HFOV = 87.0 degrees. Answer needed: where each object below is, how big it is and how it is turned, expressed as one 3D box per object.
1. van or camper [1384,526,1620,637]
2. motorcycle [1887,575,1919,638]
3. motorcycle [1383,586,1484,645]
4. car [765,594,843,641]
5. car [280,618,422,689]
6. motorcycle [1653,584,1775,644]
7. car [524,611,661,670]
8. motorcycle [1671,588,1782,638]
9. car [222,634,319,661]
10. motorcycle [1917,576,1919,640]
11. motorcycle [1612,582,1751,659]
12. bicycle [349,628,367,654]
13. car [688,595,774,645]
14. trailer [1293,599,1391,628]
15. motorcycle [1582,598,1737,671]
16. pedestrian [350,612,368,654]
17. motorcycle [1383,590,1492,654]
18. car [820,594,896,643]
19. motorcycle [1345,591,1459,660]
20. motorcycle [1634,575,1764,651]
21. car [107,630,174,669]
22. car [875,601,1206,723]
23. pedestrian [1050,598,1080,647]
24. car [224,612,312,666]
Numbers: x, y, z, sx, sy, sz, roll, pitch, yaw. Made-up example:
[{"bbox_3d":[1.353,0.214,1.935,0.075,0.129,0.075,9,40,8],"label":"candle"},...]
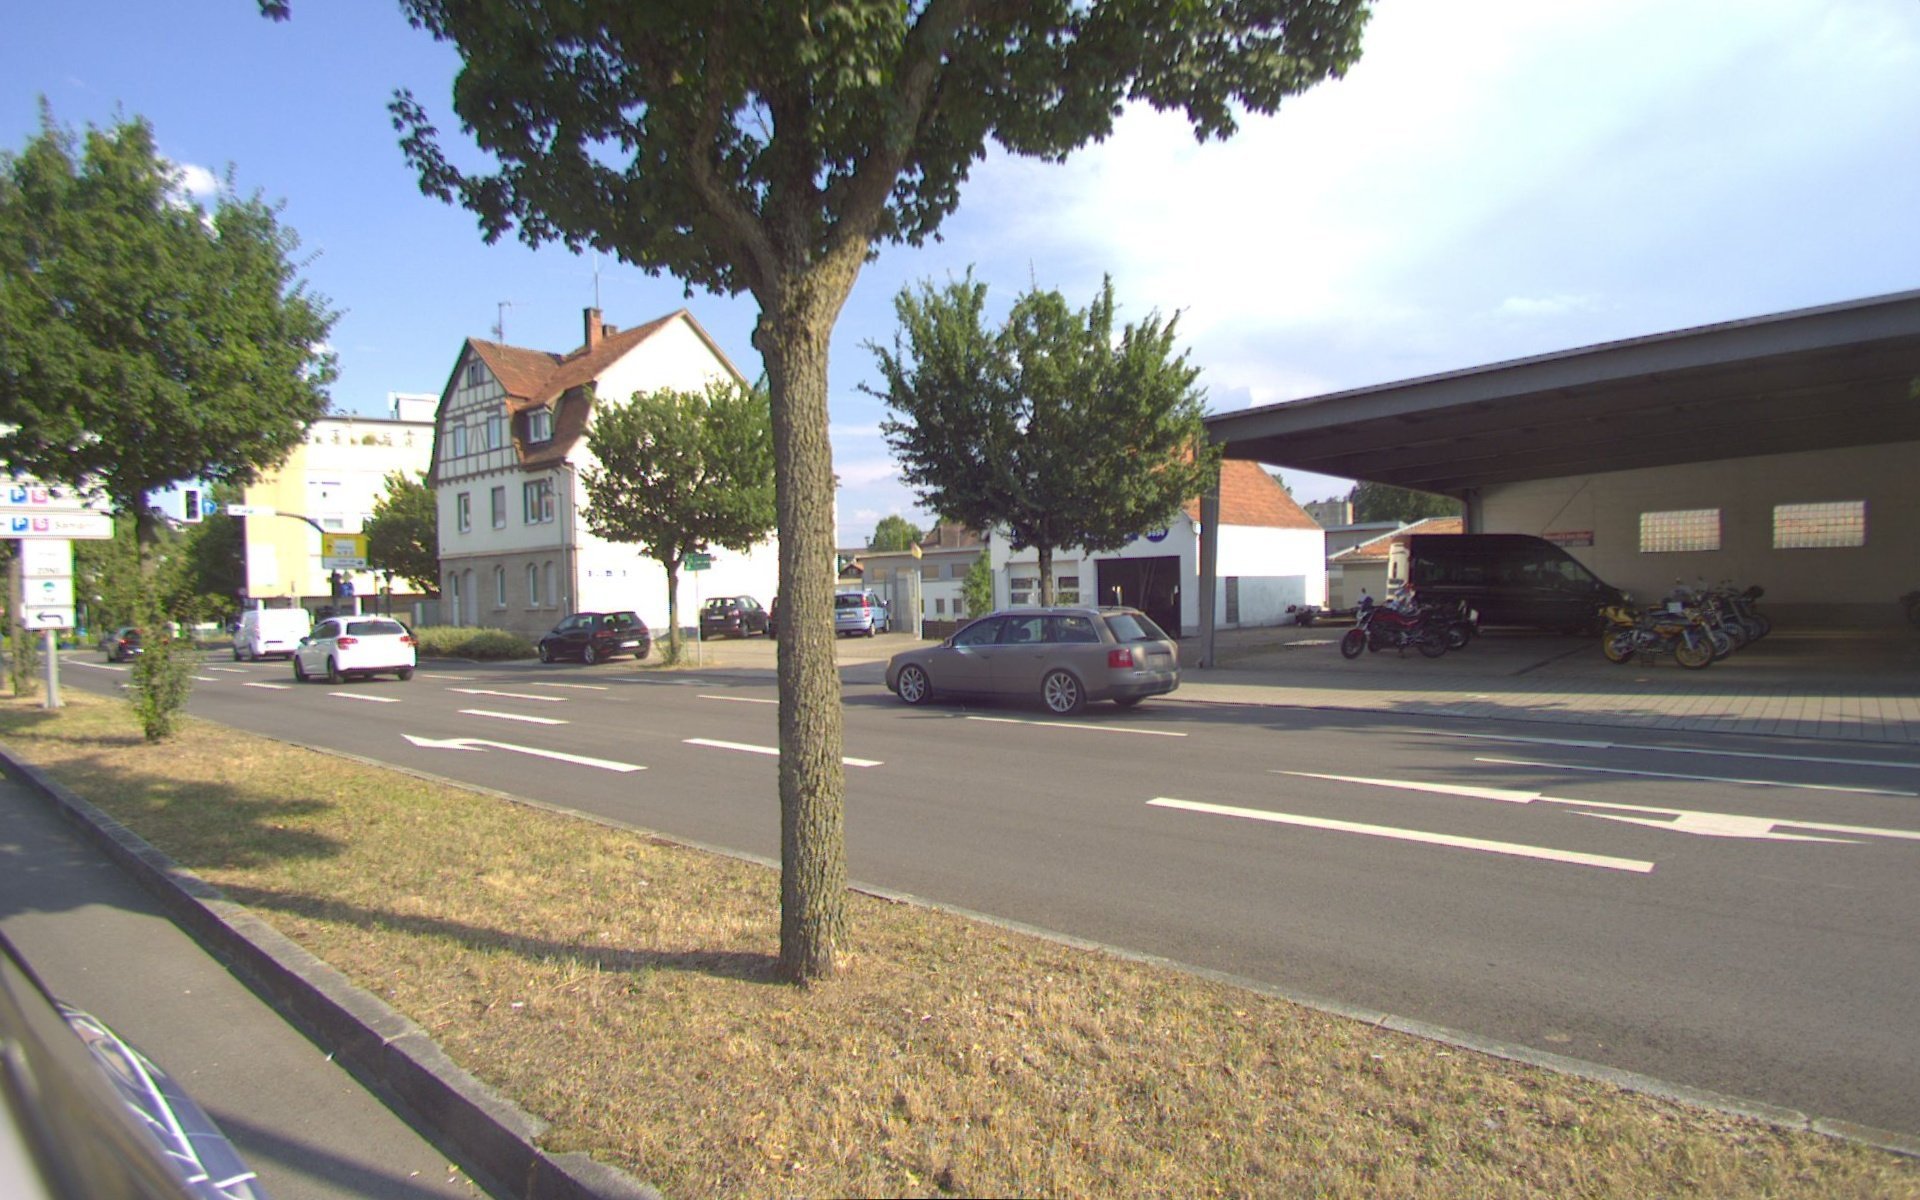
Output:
[{"bbox_3d":[14.054,-0.444,26.547,4.979,2.700,1.995,-1,0,8],"label":"van or camper"},{"bbox_3d":[21.111,0.122,21.493,2.068,1.317,0.561,-1,0,12],"label":"motorcycle"},{"bbox_3d":[10.985,0.360,23.504,1.982,1.321,0.649,-1,0,4],"label":"motorcycle"},{"bbox_3d":[-5.513,0.599,36.219,1.746,1.564,3.992,-1,0,7],"label":"car"},{"bbox_3d":[-14.458,1.208,23.943,3.954,1.508,1.782,-1,0,42],"label":"car"},{"bbox_3d":[16.673,0.299,22.453,0.636,1.268,2.161,-1,0,-19],"label":"motorcycle"},{"bbox_3d":[-10.604,1.124,29.076,4.193,1.454,1.816,-1,3,41],"label":"car"},{"bbox_3d":[18.411,0.309,24.369,0.553,1.131,2.161,-1,0,-19],"label":"motorcycle"},{"bbox_3d":[-40.989,2.776,60.242,4.594,1.364,1.770,-1,0,-41],"label":"car"},{"bbox_3d":[20.650,0.141,20.310,2.068,1.317,0.561,-1,0,12],"label":"motorcycle"},{"bbox_3d":[13.331,0.371,18.782,0.553,1.340,2.161,-1,0,-19],"label":"motorcycle"},{"bbox_3d":[-29.648,1.987,49.837,0.670,1.231,1.518,-1,0,-34],"label":"bicycle"},{"bbox_3d":[-8.189,0.689,36.557,1.746,1.563,3.992,-2,1,7],"label":"car"},{"bbox_3d":[13.695,0.488,36.210,2.448,0.831,3.152,-1,2,38],"label":"trailer"},{"bbox_3d":[11.644,0.549,16.952,0.620,1.132,2.161,-1,0,-19],"label":"motorcycle"},{"bbox_3d":[-29.055,1.588,48.955,0.688,1.997,0.590,-1,-1,-34],"label":"pedestrian"},{"bbox_3d":[10.222,0.465,21.723,1.982,1.321,0.649,-1,0,4],"label":"motorcycle"},{"bbox_3d":[-3.420,0.599,34.668,1.746,1.564,3.992,-1,0,7],"label":"car"},{"bbox_3d":[8.756,0.512,20.137,1.991,1.321,0.665,-1,0,18],"label":"motorcycle"},{"bbox_3d":[14.990,0.266,20.610,0.584,1.459,2.161,-1,0,-19],"label":"motorcycle"},{"bbox_3d":[-34.201,2.033,42.200,1.749,1.462,4.110,-1,-1,-45],"label":"car"},{"bbox_3d":[1.003,0.800,14.569,4.710,1.473,1.668,-1,0,42],"label":"car"},{"bbox_3d":[3.300,0.702,31.799,0.643,1.535,0.675,-1,-1,-41],"label":"pedestrian"},{"bbox_3d":[-27.077,1.483,39.533,4.944,1.938,1.803,-1,-1,43],"label":"car"}]
